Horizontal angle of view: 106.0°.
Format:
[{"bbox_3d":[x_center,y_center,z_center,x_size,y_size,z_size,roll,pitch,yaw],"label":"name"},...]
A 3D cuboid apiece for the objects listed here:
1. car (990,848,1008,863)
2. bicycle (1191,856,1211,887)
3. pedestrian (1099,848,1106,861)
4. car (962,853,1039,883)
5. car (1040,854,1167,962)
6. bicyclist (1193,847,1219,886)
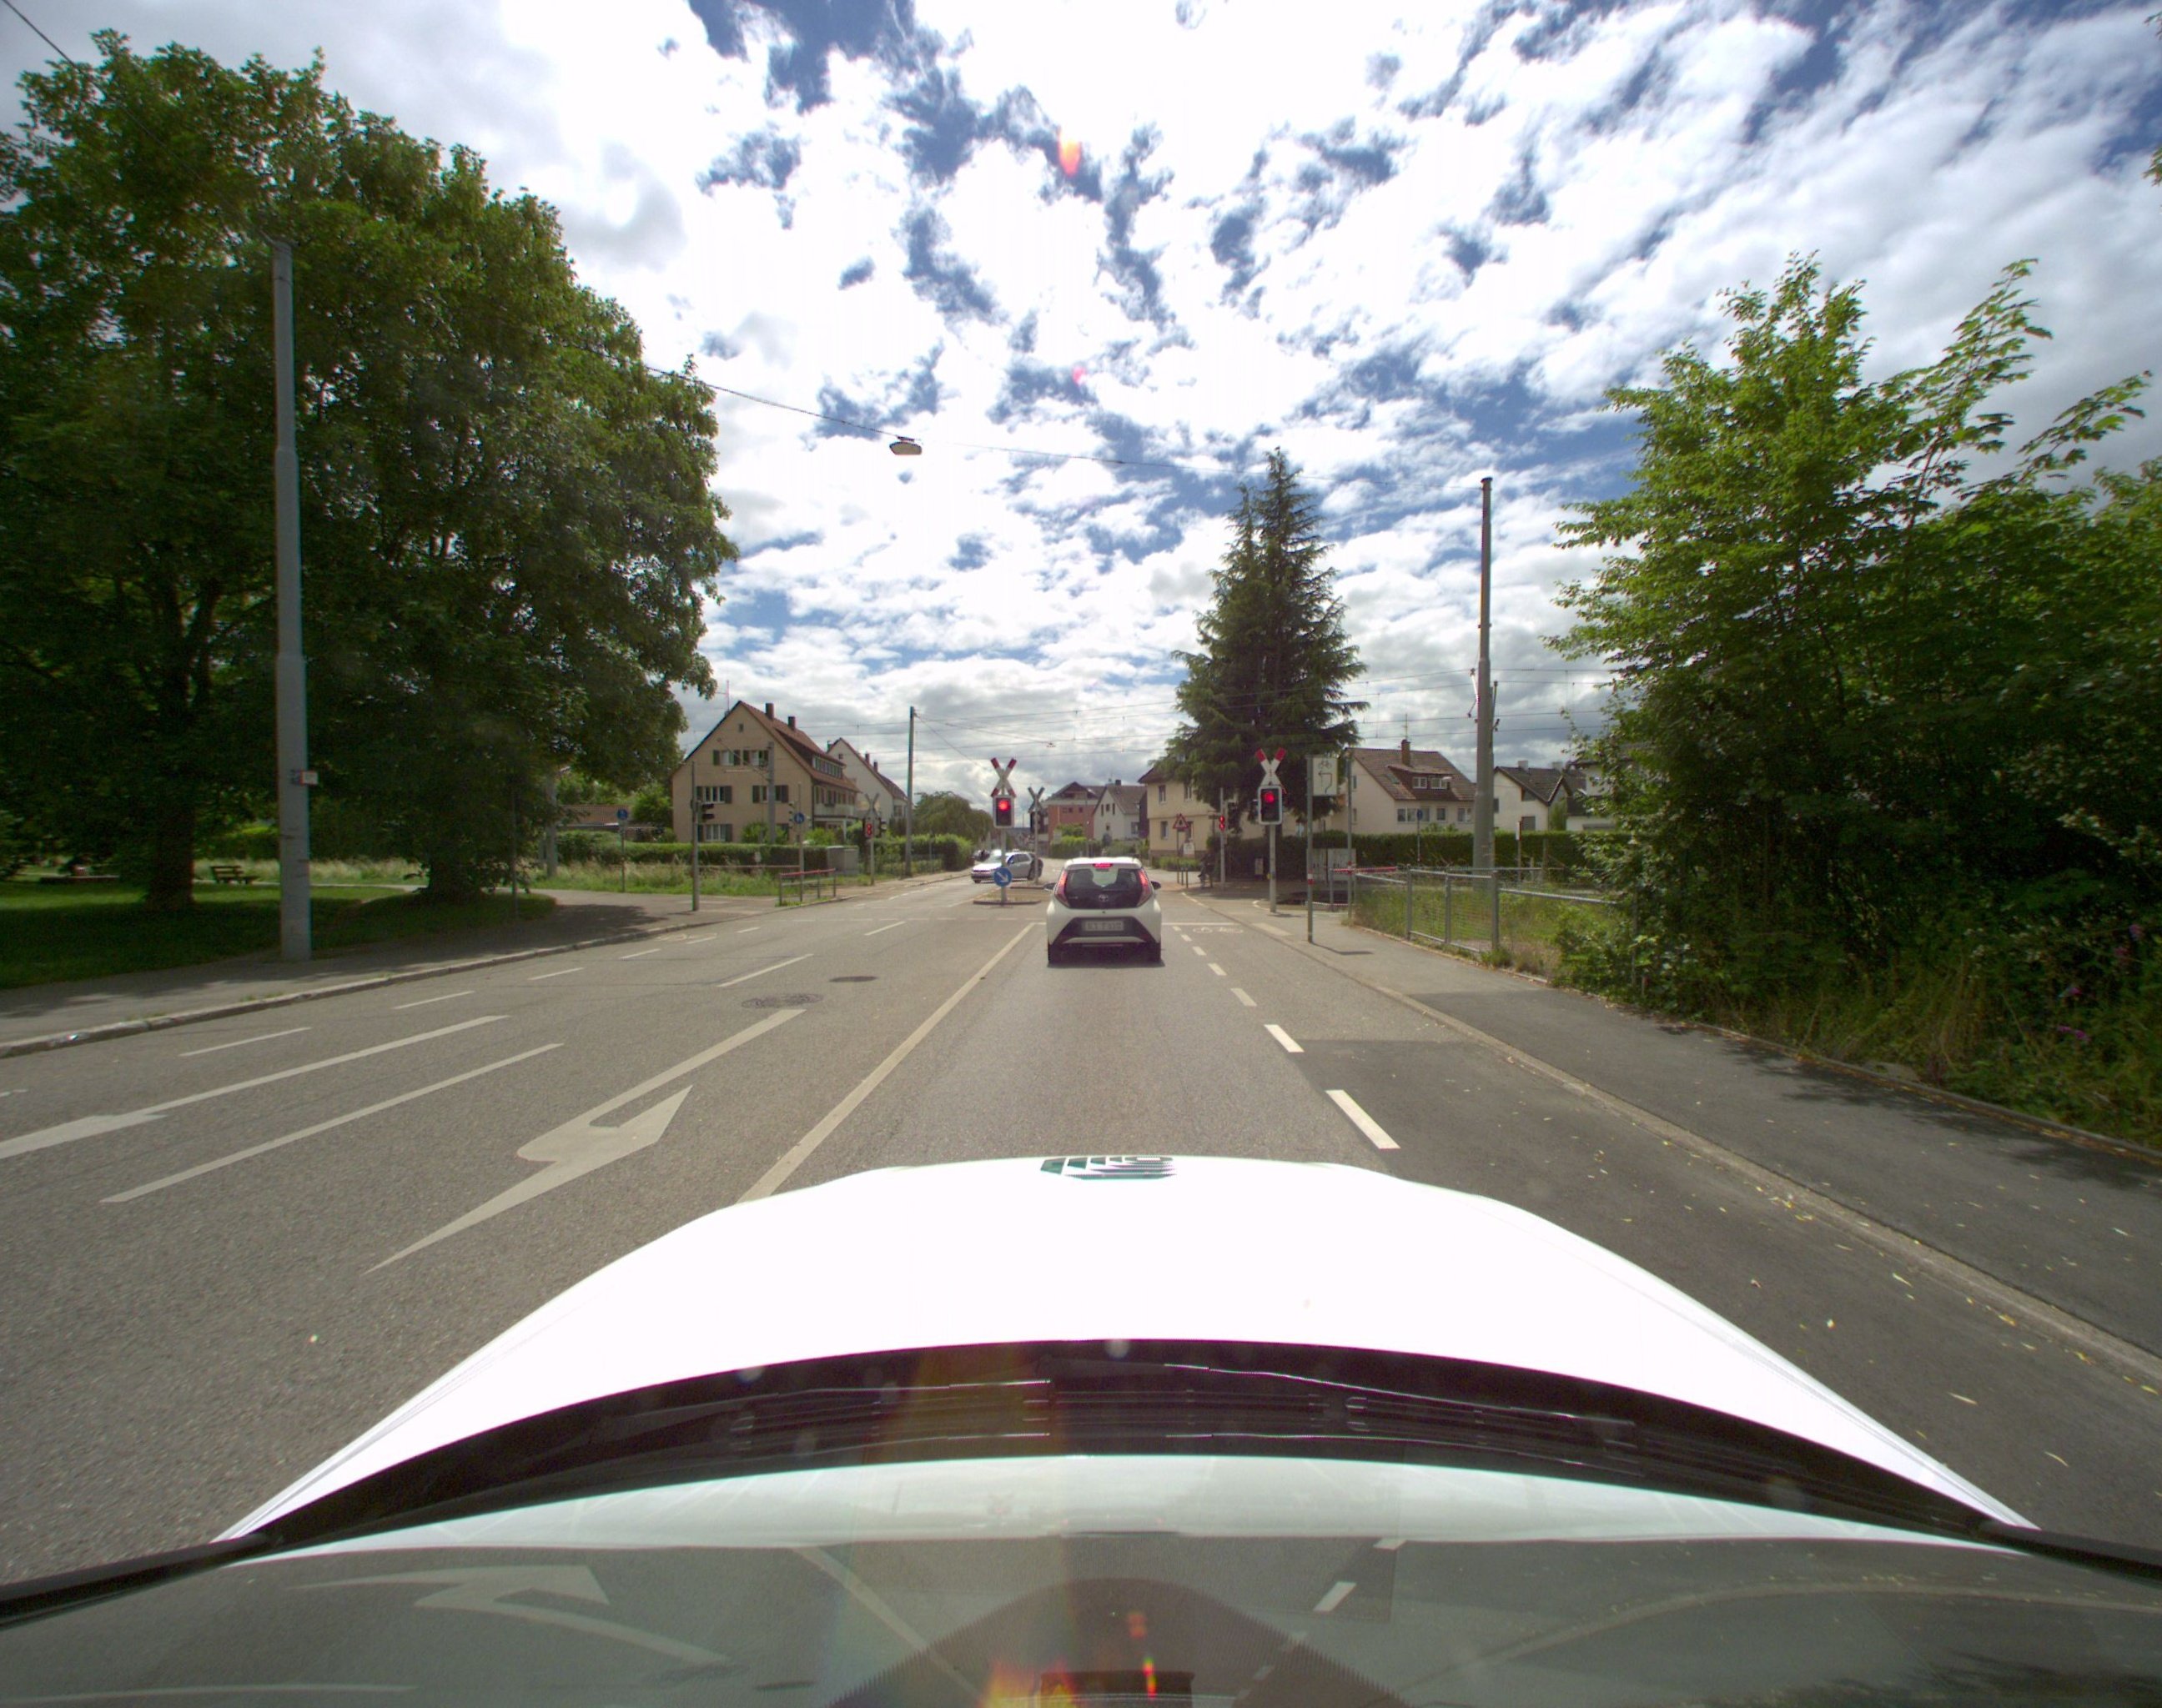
[{"bbox_3d":[-9.380,0.136,93.230,1.990,1.719,3.994,0,0,-5],"label":"car"},{"bbox_3d":[4.984,0.712,33.808,0.456,1.172,1.477,-4,2,-4],"label":"bicycle"},{"bbox_3d":[2.472,0.062,93.982,0.723,1.576,0.804,0,0,1],"label":"pedestrian"},{"bbox_3d":[-4.082,0.683,41.965,1.887,1.441,4.124,0,0,30],"label":"car"},{"bbox_3d":[0.258,0.736,12.884,1.716,1.442,3.706,0,0,-2],"label":"car"},{"bbox_3d":[5.167,0.508,33.678,0.839,1.553,0.755,-4,2,-4],"label":"bicyclist"}]
